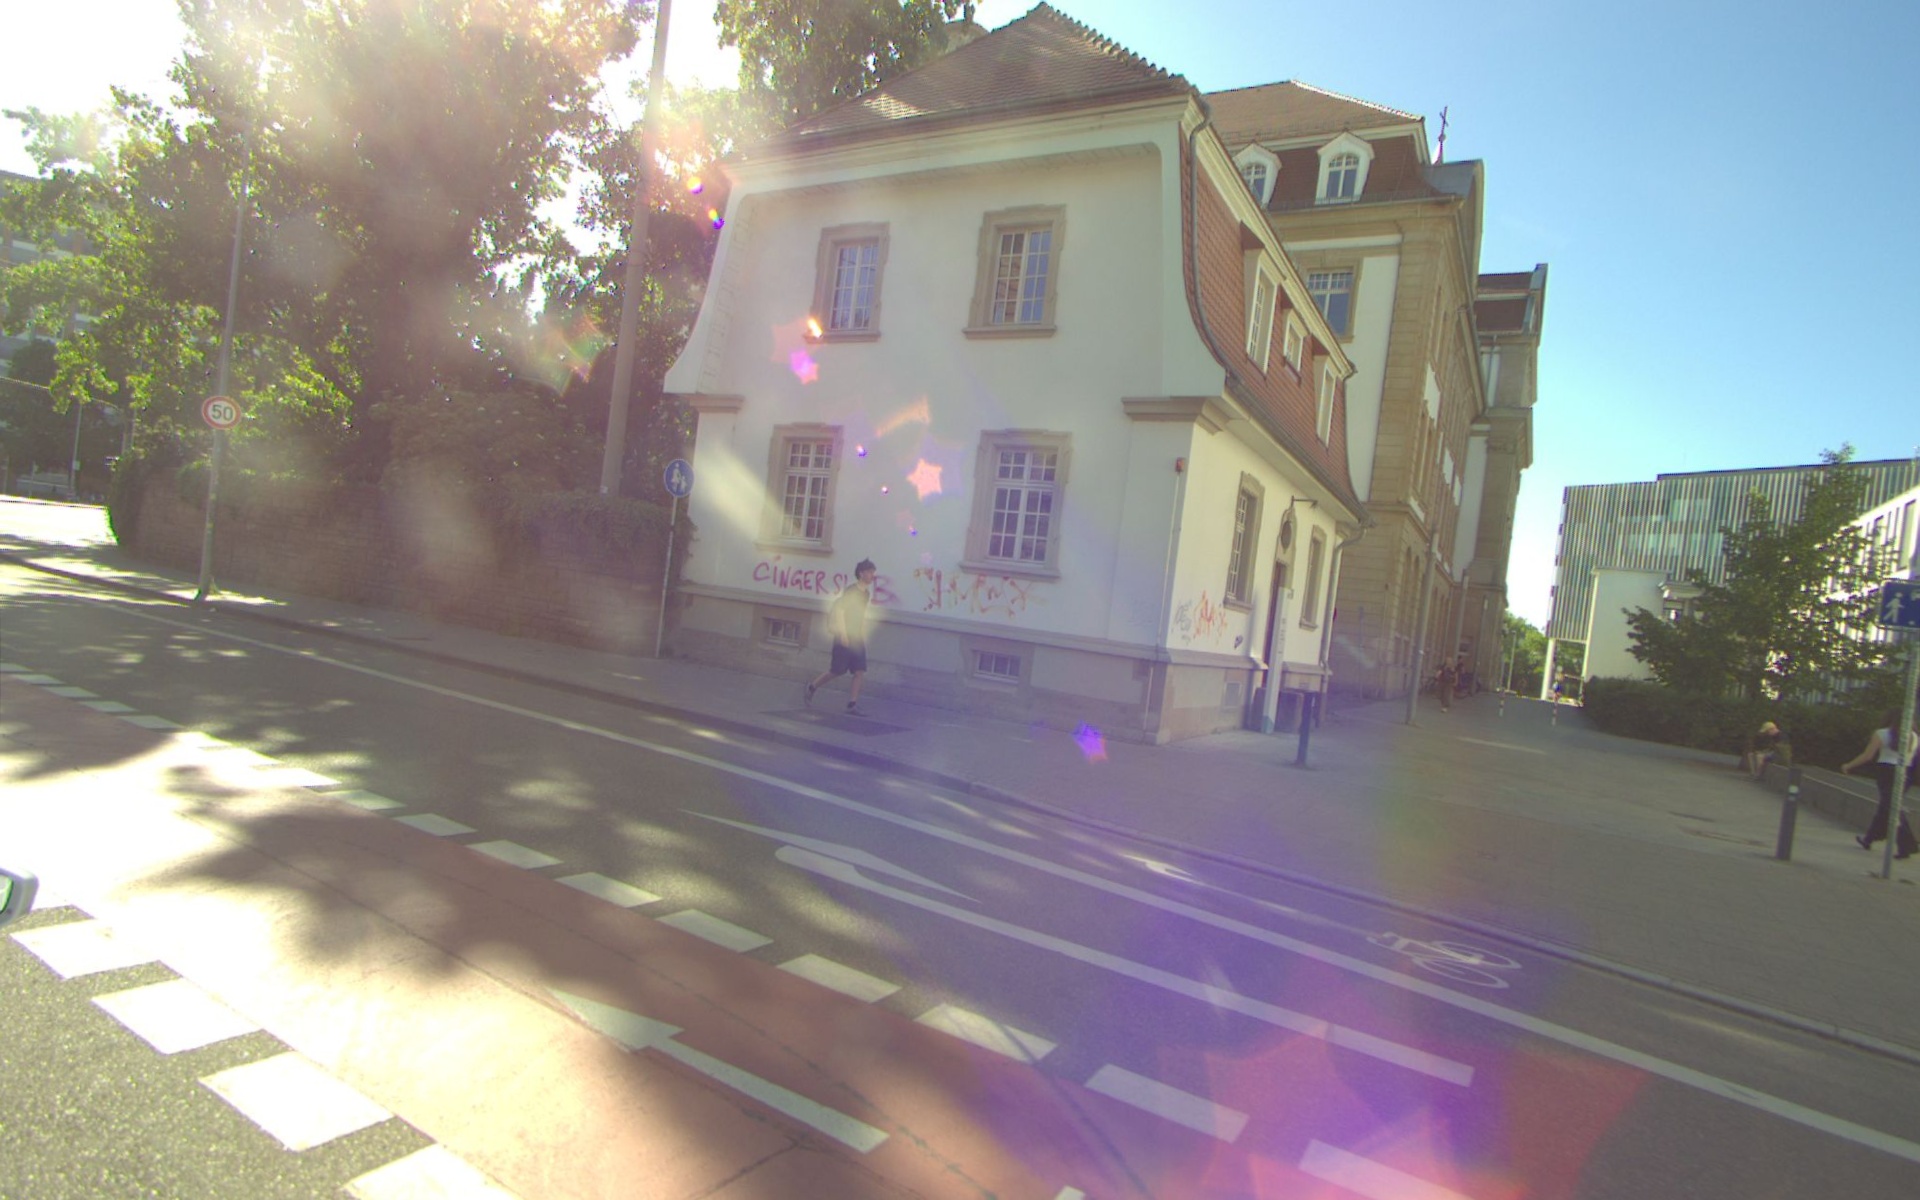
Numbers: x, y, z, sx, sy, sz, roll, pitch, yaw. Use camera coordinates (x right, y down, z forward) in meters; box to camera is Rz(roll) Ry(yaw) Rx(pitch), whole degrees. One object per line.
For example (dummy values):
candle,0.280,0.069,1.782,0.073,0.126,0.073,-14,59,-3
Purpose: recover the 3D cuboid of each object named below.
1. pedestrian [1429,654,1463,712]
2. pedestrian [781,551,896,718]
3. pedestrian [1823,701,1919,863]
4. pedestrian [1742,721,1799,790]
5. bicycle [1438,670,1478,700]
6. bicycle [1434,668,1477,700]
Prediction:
pedestrian,14.436,2.462,29.858,0.633,1.606,0.925,8,1,31
pedestrian,-1.532,0.414,12.676,1.115,1.929,0.638,8,3,31
pedestrian,10.608,2.049,11.431,0.845,1.661,0.992,6,0,26
pedestrian,16.100,3.071,20.009,0.641,1.207,0.965,8,1,31
bicycle,20.901,3.541,42.225,1.364,1.030,0.470,9,3,32
bicycle,19.855,3.363,40.334,1.364,1.030,0.470,9,3,32
